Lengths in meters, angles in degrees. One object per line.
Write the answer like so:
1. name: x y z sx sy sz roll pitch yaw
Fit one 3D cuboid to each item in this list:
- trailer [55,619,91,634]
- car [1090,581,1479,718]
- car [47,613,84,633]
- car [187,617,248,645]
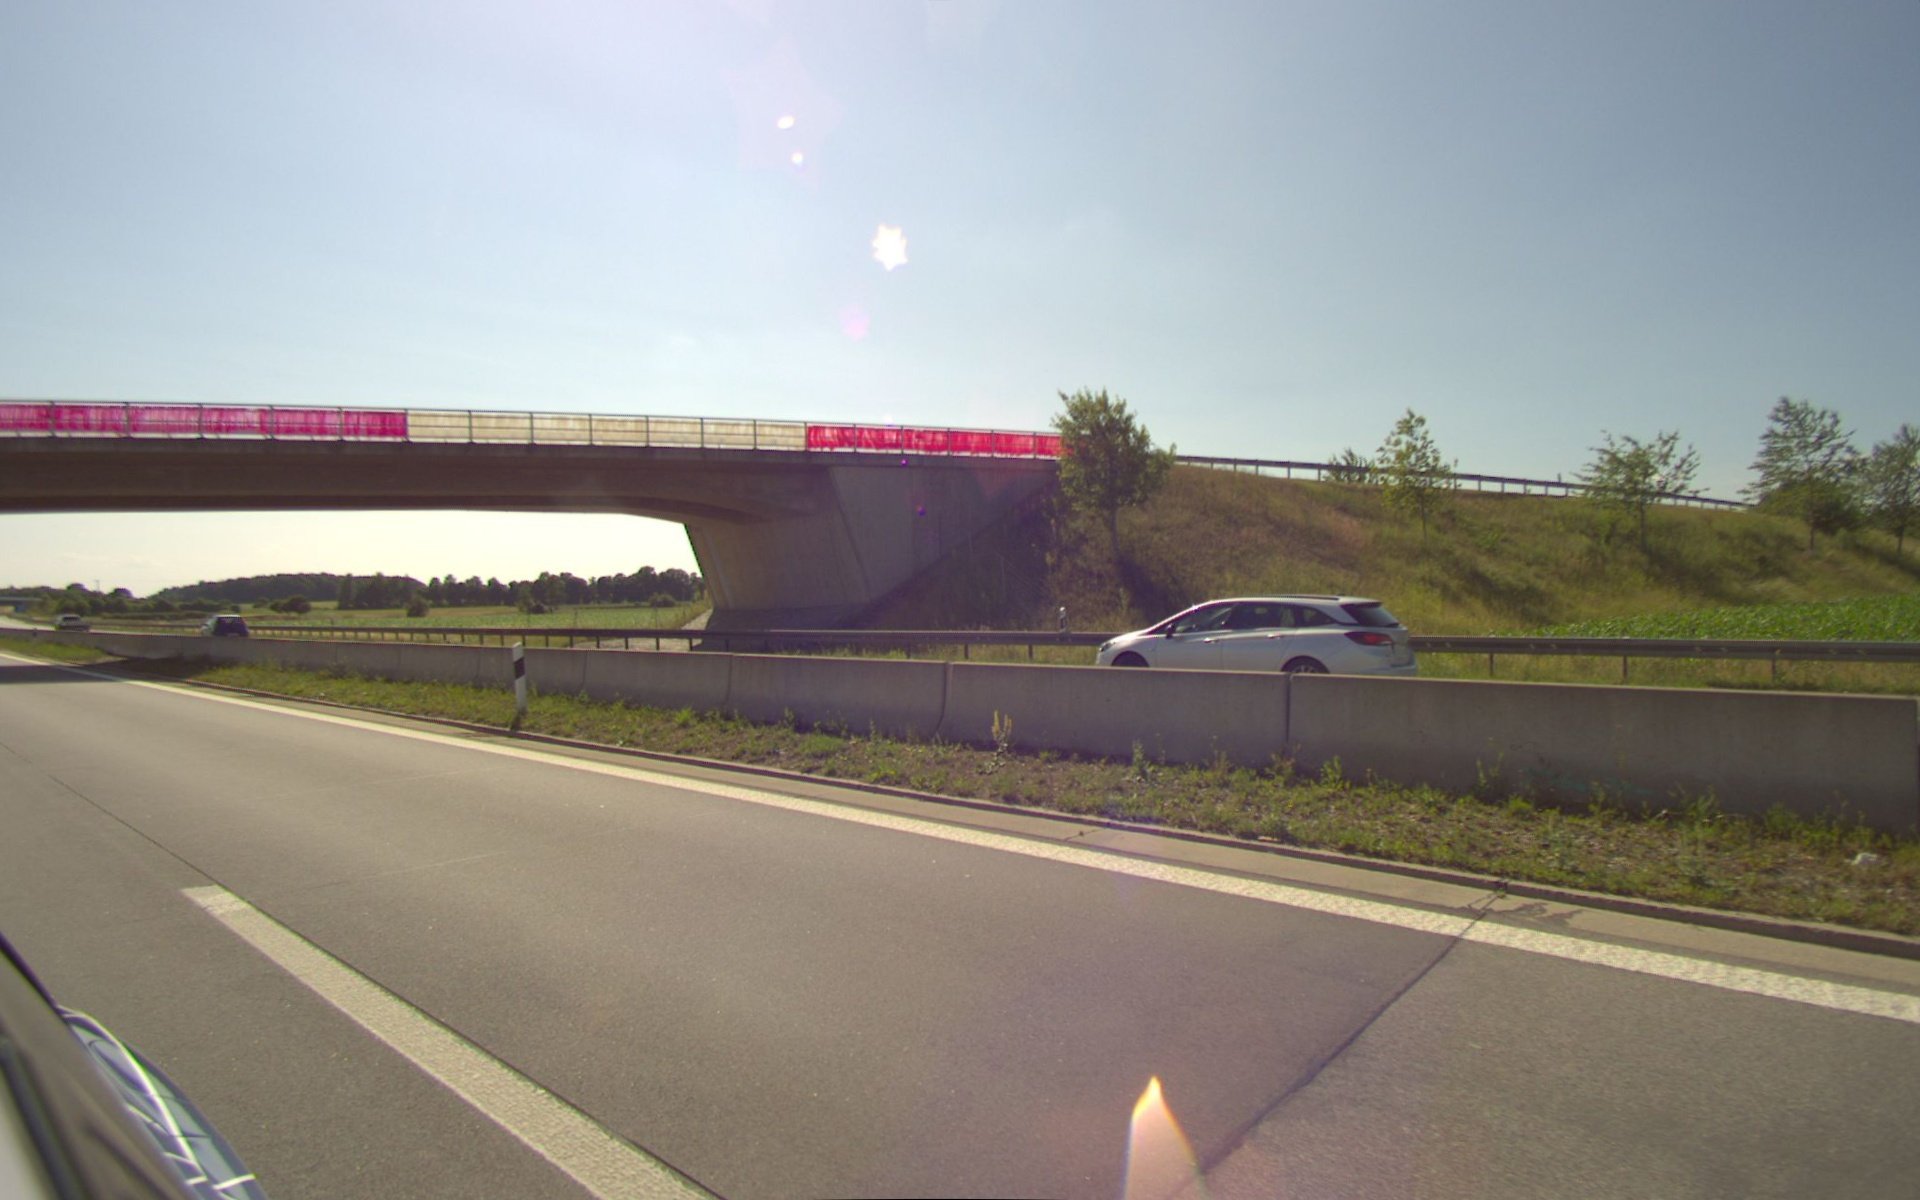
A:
1. trailer: -79.949 2.408 91.220 4.261 1.267 1.972 -1 0 42
2. car: 4.451 0.593 14.390 4.894 1.590 1.973 -1 1 41
3. car: -83.615 2.170 94.539 5.586 1.744 1.972 -1 0 42
4. car: -41.072 1.698 55.949 4.193 1.471 1.835 -1 0 41
